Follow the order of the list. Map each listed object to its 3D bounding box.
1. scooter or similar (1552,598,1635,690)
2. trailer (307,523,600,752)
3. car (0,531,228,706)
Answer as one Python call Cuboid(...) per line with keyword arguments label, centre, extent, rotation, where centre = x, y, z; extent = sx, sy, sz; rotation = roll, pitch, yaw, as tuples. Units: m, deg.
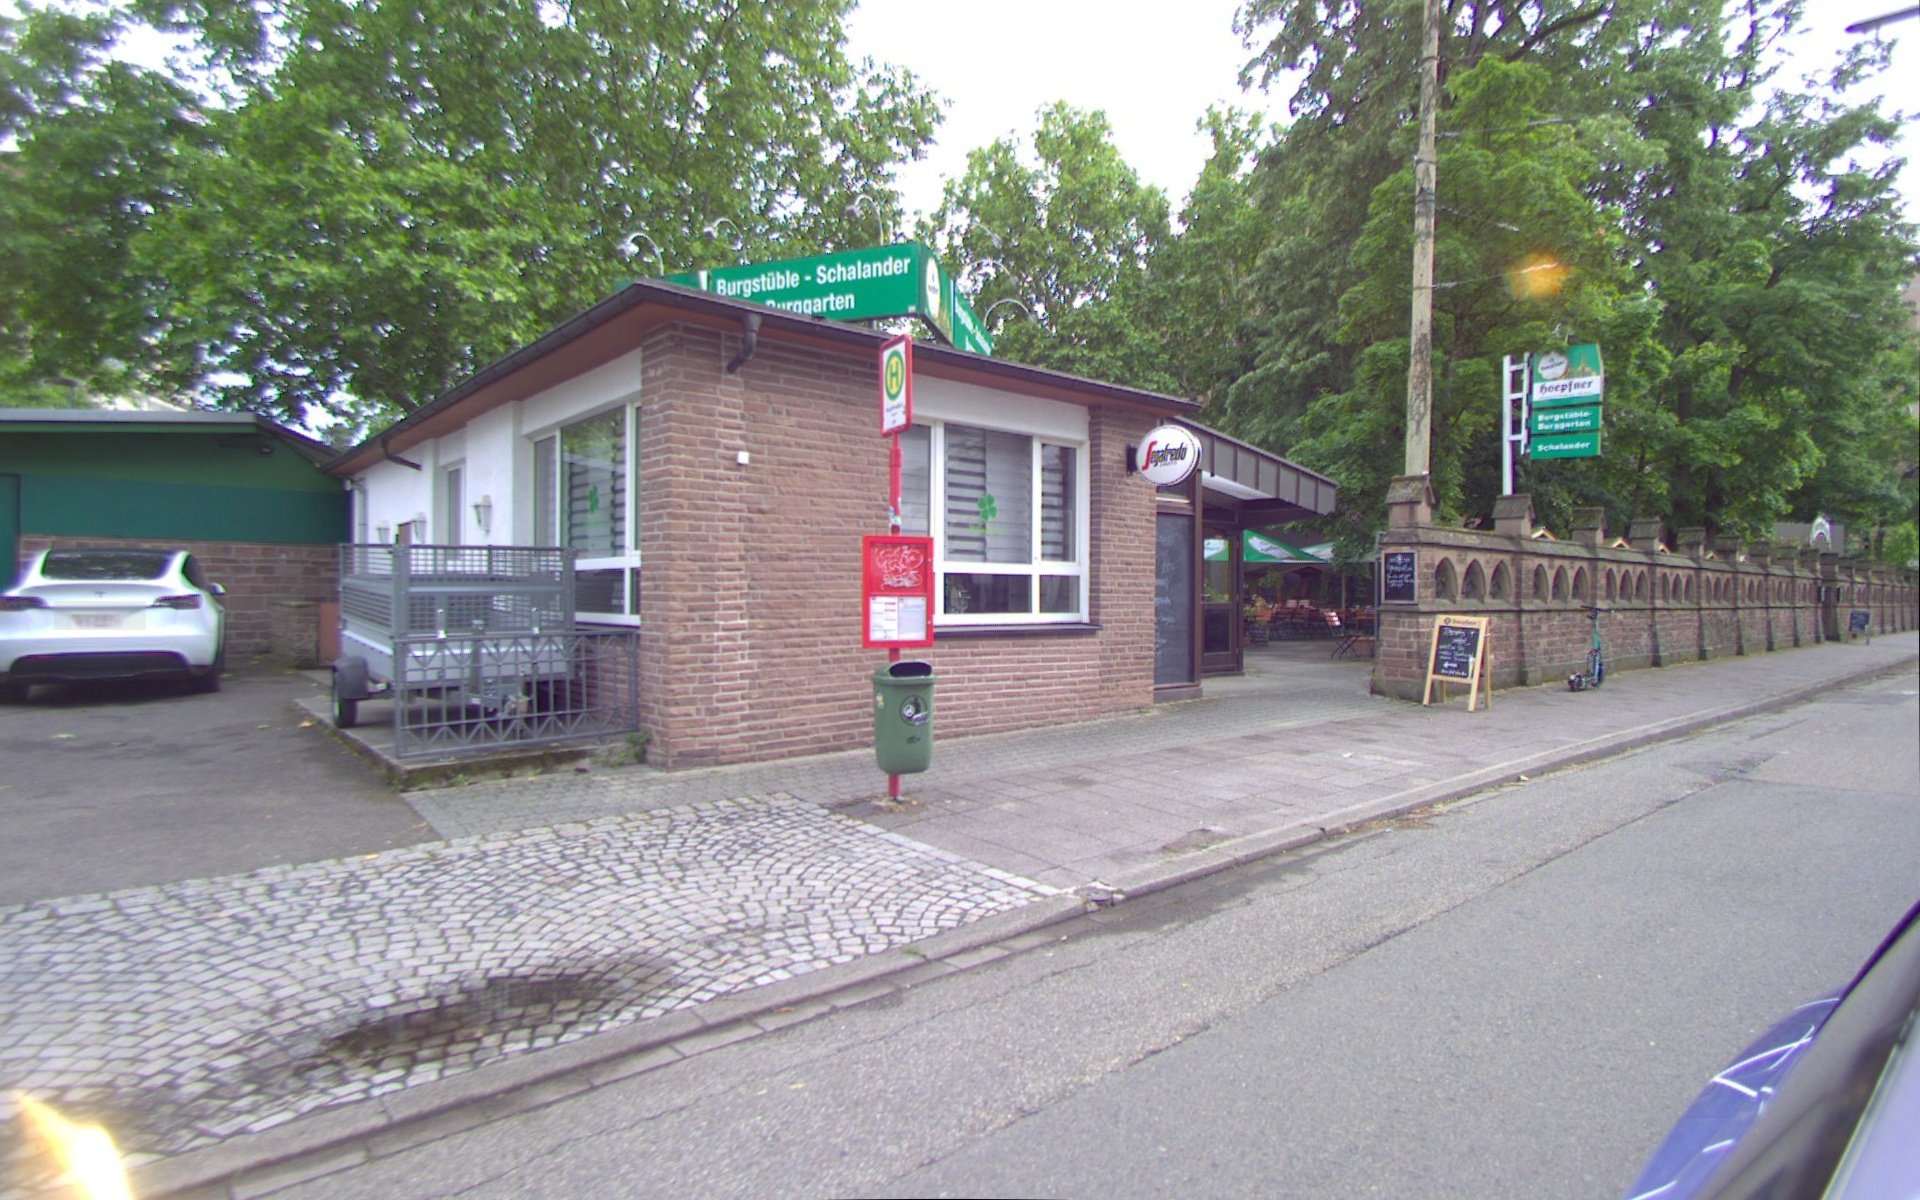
Cuboid(label="scooter or similar", centre=(9.316, 0.616, 14.860), extent=(1.385, 1.254, 0.578), rotation=(0, 4, -40))
Cuboid(label="trailer", centre=(-4.412, 0.226, 8.605), extent=(1.592, 1.558, 3.169), rotation=(-1, 1, -39))
Cuboid(label="car", centre=(-9.854, 0.151, 11.868), extent=(1.953, 1.667, 4.439), rotation=(0, 1, -35))
